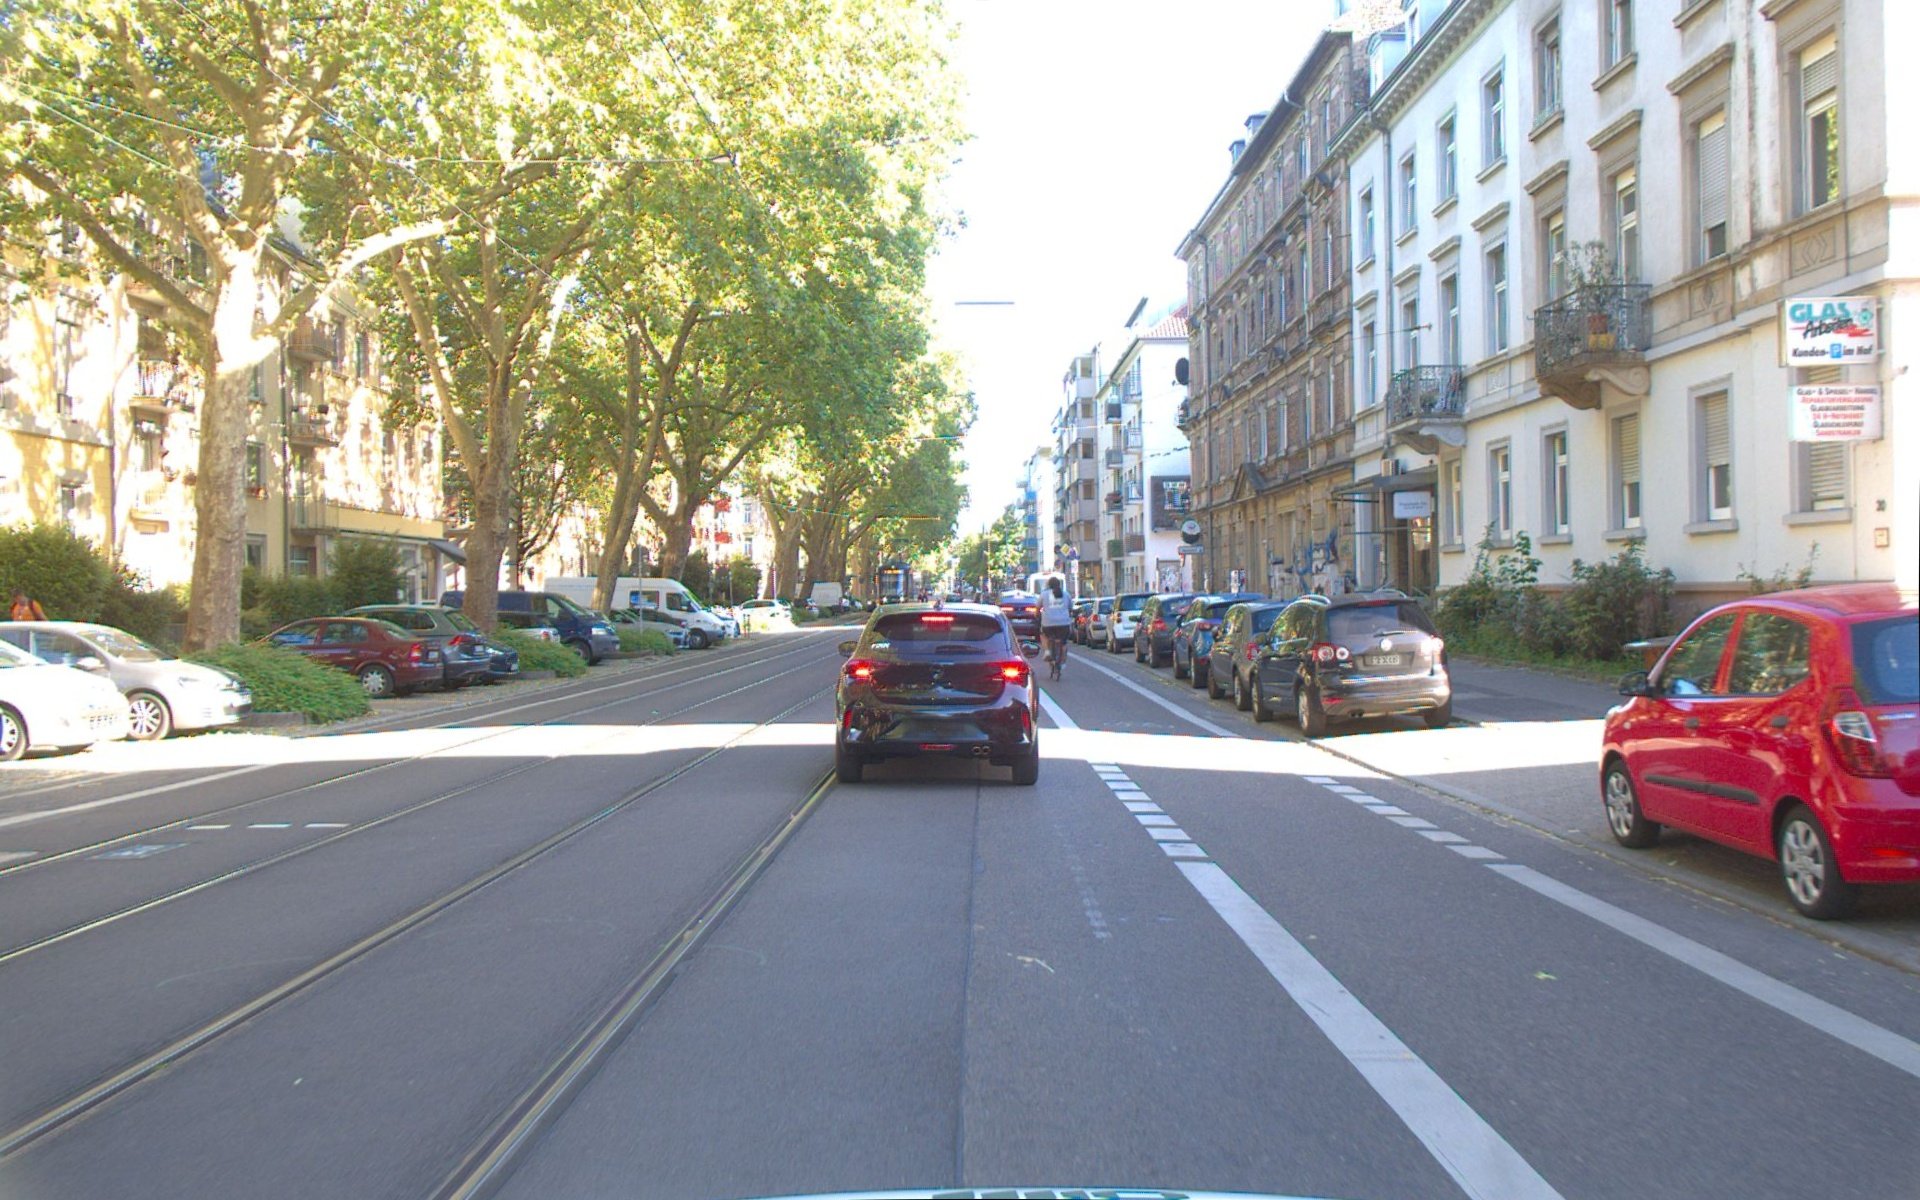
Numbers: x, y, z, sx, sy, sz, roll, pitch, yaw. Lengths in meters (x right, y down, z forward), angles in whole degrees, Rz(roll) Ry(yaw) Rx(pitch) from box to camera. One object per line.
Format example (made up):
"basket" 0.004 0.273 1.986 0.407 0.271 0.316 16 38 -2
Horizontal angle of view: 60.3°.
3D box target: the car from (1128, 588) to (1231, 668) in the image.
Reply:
"car" 4.713 0.580 35.963 1.676 1.509 3.764 -4 0 0

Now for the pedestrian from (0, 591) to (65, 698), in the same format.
"pedestrian" -16.707 0.784 29.713 0.848 1.882 0.836 0 0 -8

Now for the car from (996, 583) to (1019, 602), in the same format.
"car" 3.949 -0.612 137.758 1.773 1.361 3.933 -4 0 1

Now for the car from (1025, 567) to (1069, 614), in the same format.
"car" 4.541 -0.469 87.148 2.033 2.257 4.934 -4 0 1

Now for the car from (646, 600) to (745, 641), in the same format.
"car" -10.901 0.844 68.299 3.842 1.605 1.676 1 0 -3

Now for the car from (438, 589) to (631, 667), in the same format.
"car" -11.288 0.741 44.119 4.578 1.957 1.980 1 0 1

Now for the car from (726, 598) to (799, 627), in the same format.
"car" -10.748 0.698 90.262 3.842 1.524 1.676 1 0 -3

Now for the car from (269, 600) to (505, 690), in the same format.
"car" -11.124 0.858 32.290 3.913 1.655 1.879 1 0 -1

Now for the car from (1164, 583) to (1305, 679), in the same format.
"car" 4.839 0.516 29.683 1.841 1.481 4.026 -4 0 1

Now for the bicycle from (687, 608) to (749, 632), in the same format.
"bicycle" -11.942 0.991 81.490 2.880 1.190 0.991 0 0 17

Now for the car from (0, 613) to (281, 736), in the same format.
"car" -11.126 0.944 21.477 3.839 1.488 1.805 -1 0 0

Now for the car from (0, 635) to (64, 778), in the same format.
"car" -11.146 1.009 16.061 3.839 1.355 1.847 1 0 0

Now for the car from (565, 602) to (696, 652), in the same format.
"car" -10.624 0.854 53.524 3.839 1.524 1.677 1 0 1

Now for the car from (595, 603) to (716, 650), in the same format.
"car" -10.360 0.900 56.523 3.842 1.524 1.676 1 0 -3

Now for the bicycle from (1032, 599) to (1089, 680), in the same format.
"bicycle" 1.832 0.703 30.620 0.843 1.431 2.523 0 0 -1

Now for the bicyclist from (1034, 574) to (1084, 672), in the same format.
"bicyclist" 1.824 0.417 30.706 0.831 1.770 1.161 0 0 -1

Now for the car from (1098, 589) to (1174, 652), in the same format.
"car" 4.700 0.536 44.497 1.536 1.543 3.039 -4 0 -2

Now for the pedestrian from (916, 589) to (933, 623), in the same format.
"pedestrian" -1.663 0.290 78.067 0.664 1.594 0.769 0 0 10

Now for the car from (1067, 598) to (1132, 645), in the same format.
"car" 4.504 0.671 53.974 1.773 1.361 3.933 -4 0 1

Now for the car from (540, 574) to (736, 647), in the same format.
"car" -11.455 0.384 59.218 6.492 2.451 2.458 1 0 0

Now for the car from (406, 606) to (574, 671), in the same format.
"car" -11.667 0.943 41.189 3.658 1.524 1.746 1 0 0

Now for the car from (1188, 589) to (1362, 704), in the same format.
"car" 4.665 0.658 24.982 1.762 1.481 3.767 -4 0 -1

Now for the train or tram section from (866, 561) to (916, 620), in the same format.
"train or tram section" -4.661 -0.624 114.536 2.678 3.746 12.717 -1 0 1

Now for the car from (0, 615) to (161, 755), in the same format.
"car" -11.363 0.936 18.613 3.841 1.478 1.800 -1 0 -1

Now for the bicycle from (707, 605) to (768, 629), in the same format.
"bicycle" -11.248 0.866 83.650 2.880 1.190 0.991 0 0 17

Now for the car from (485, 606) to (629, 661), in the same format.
"car" -11.378 0.933 46.822 3.658 1.455 1.637 1 0 0

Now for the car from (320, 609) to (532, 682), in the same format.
"car" -11.138 0.934 34.695 3.841 1.446 1.818 1 0 -2

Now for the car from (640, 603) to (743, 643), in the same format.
"car" -10.674 0.909 65.852 3.842 1.524 1.676 1 0 -3

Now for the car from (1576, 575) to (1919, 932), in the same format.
"car" 4.859 0.662 9.131 1.601 1.573 3.576 -2 0 1

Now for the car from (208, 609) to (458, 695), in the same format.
"car" -11.323 0.922 30.043 3.839 1.467 1.749 1 0 0

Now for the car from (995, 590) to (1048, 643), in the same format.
"car" 2.131 0.575 58.134 1.772 1.772 3.933 -1 0 1

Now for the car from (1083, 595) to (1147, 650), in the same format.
"car" 4.610 0.649 49.549 1.669 1.481 3.698 -4 0 3

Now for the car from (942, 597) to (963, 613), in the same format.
"car" -0.645 0.419 145.531 1.772 1.361 3.934 0 1 1

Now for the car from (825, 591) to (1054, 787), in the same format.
"car" -0.169 0.677 14.507 1.757 1.466 3.531 0 1 -1

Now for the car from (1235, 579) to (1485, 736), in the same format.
"car" 4.797 0.650 20.440 1.843 1.613 3.930 -4 0 -3

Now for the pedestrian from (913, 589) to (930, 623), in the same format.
"pedestrian" -1.781 0.290 77.251 0.664 1.594 0.769 0 0 10

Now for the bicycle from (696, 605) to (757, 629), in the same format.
"bicycle" -11.688 0.834 82.668 2.880 1.190 0.991 0 0 17

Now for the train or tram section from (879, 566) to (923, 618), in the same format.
"train or tram section" -4.476 -0.582 127.226 2.678 3.746 12.717 -1 0 1

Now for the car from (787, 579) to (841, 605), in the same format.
"car" -10.639 -0.595 120.728 3.842 1.821 1.676 1 0 -3

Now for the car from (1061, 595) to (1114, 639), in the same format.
"car" 4.649 0.599 60.707 1.628 1.444 3.933 -4 0 1
